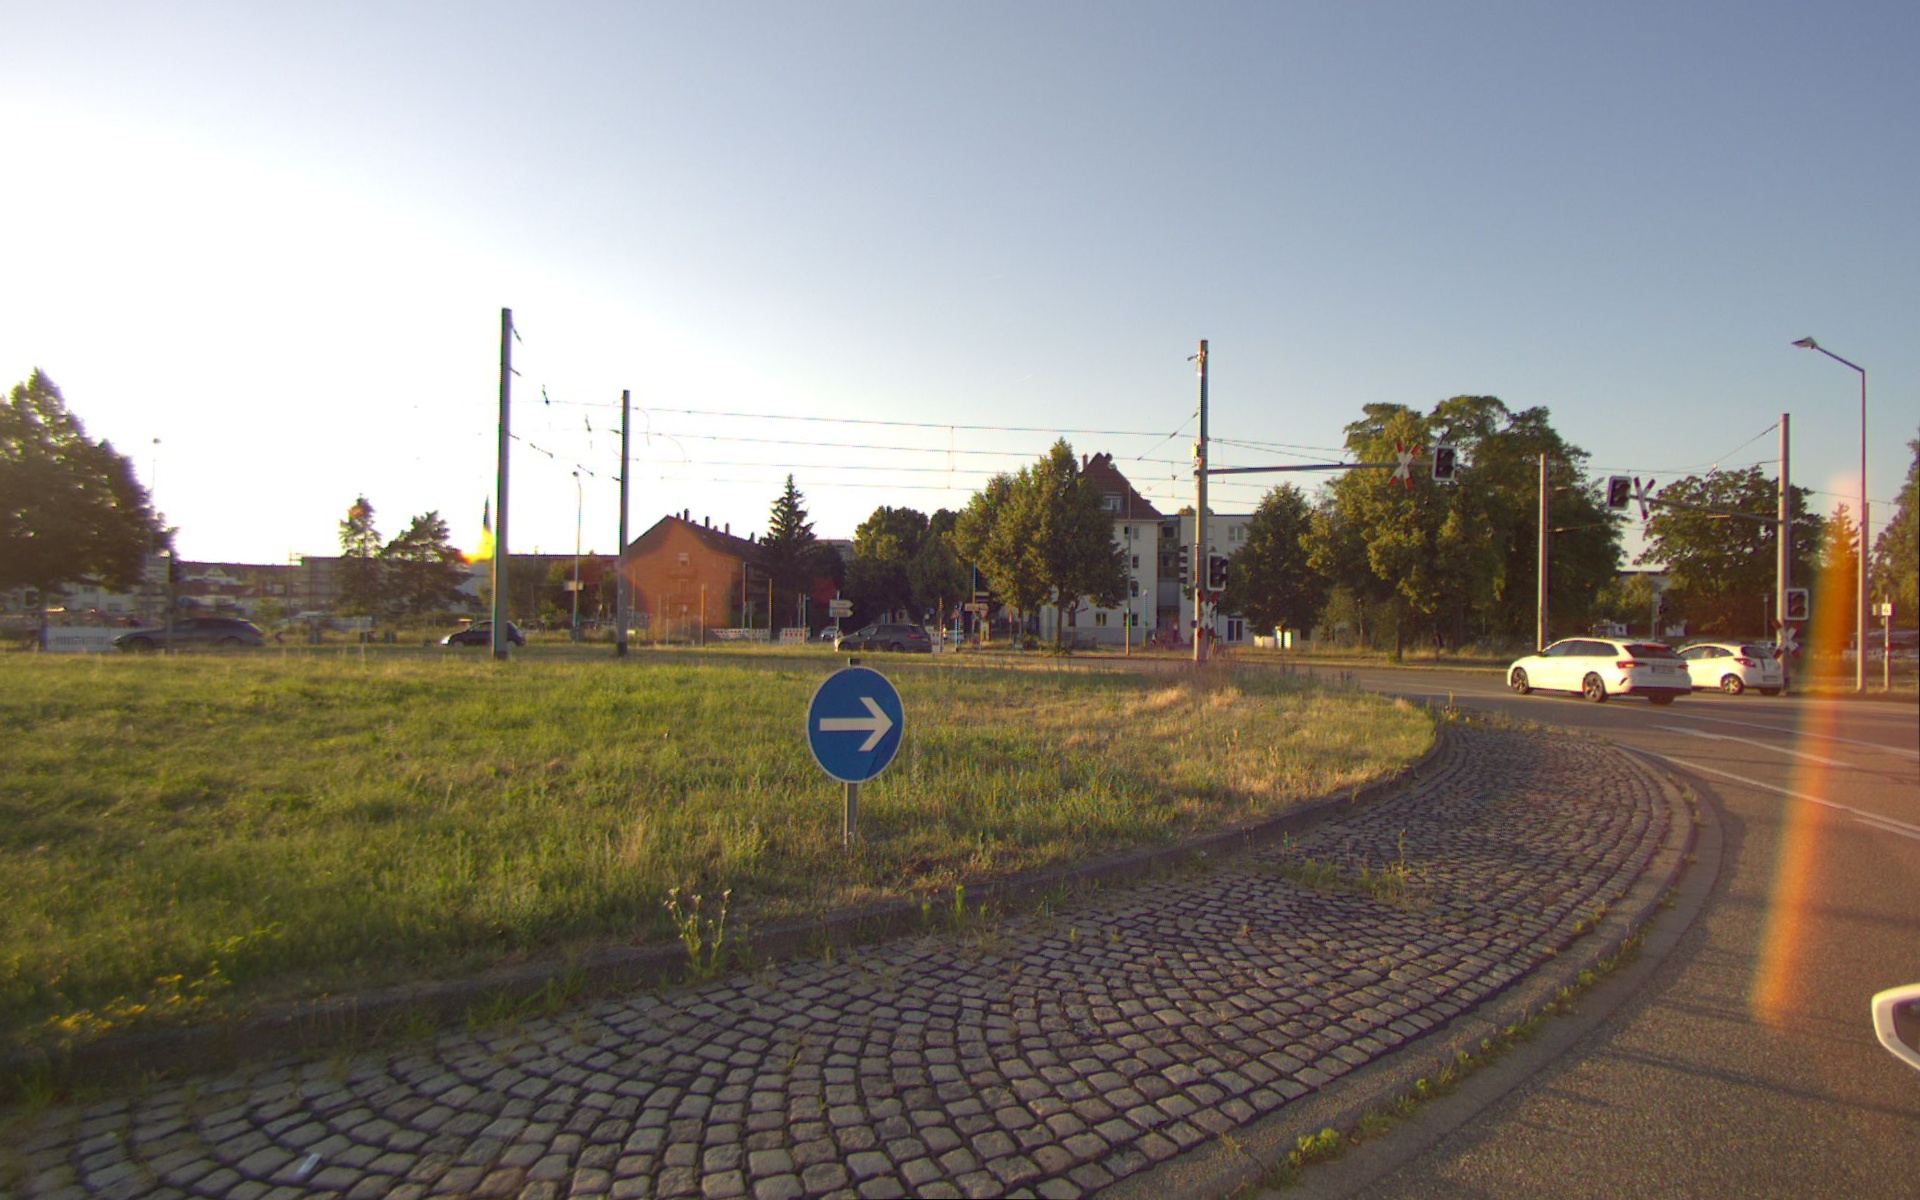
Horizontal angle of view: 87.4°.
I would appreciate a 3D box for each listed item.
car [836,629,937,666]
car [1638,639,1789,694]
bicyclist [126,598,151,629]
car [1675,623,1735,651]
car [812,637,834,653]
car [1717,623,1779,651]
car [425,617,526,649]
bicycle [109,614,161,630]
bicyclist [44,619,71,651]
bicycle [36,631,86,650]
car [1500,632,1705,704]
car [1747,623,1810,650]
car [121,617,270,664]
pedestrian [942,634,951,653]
[{"bbox_3d":[-3.179,2.033,43.549,4.056,1.486,1.750,-1,-1,25],"label":"car"},{"bbox_3d":[22.834,1.985,30.588,1.528,1.462,3.477,2,-1,-14],"label":"car"},{"bbox_3d":[-43.905,0.734,53.678,0.786,1.655,0.693,0,-1,-18],"label":"bicyclist"},{"bbox_3d":[60.067,2.951,81.070,1.960,2.126,4.001,1,-1,2],"label":"car"},{"bbox_3d":[-13.747,4.519,101.021,1.596,1.506,4.001,1,-1,2],"label":"car"},{"bbox_3d":[63.220,2.935,80.650,1.960,2.126,4.001,1,-1,2],"label":"car"},{"bbox_3d":[-23.118,1.576,48.047,4.065,1.465,1.746,0,-1,-15],"label":"car"},{"bbox_3d":[-44.114,1.188,53.743,2.102,0.857,0.510,0,-1,-19],"label":"bicycle"},{"bbox_3d":[-46.734,1.795,52.010,0.800,1.662,0.814,0,-1,26],"label":"bicyclist"},{"bbox_3d":[-46.668,2.099,52.157,0.539,0.993,1.842,0,-1,26],"label":"bicycle"},{"bbox_3d":[14.960,1.525,23.744,1.694,1.468,4.547,0,-1,-4],"label":"car"},{"bbox_3d":[65.900,2.923,80.924,1.960,2.126,4.001,1,-1,2],"label":"car"},{"bbox_3d":[-30.122,1.575,39.771,4.548,1.771,1.736,1,-1,-33],"label":"car"},{"bbox_3d":[-0.993,3.237,74.441,0.539,1.392,0.357,1,-1,-18],"label":"pedestrian"}]
